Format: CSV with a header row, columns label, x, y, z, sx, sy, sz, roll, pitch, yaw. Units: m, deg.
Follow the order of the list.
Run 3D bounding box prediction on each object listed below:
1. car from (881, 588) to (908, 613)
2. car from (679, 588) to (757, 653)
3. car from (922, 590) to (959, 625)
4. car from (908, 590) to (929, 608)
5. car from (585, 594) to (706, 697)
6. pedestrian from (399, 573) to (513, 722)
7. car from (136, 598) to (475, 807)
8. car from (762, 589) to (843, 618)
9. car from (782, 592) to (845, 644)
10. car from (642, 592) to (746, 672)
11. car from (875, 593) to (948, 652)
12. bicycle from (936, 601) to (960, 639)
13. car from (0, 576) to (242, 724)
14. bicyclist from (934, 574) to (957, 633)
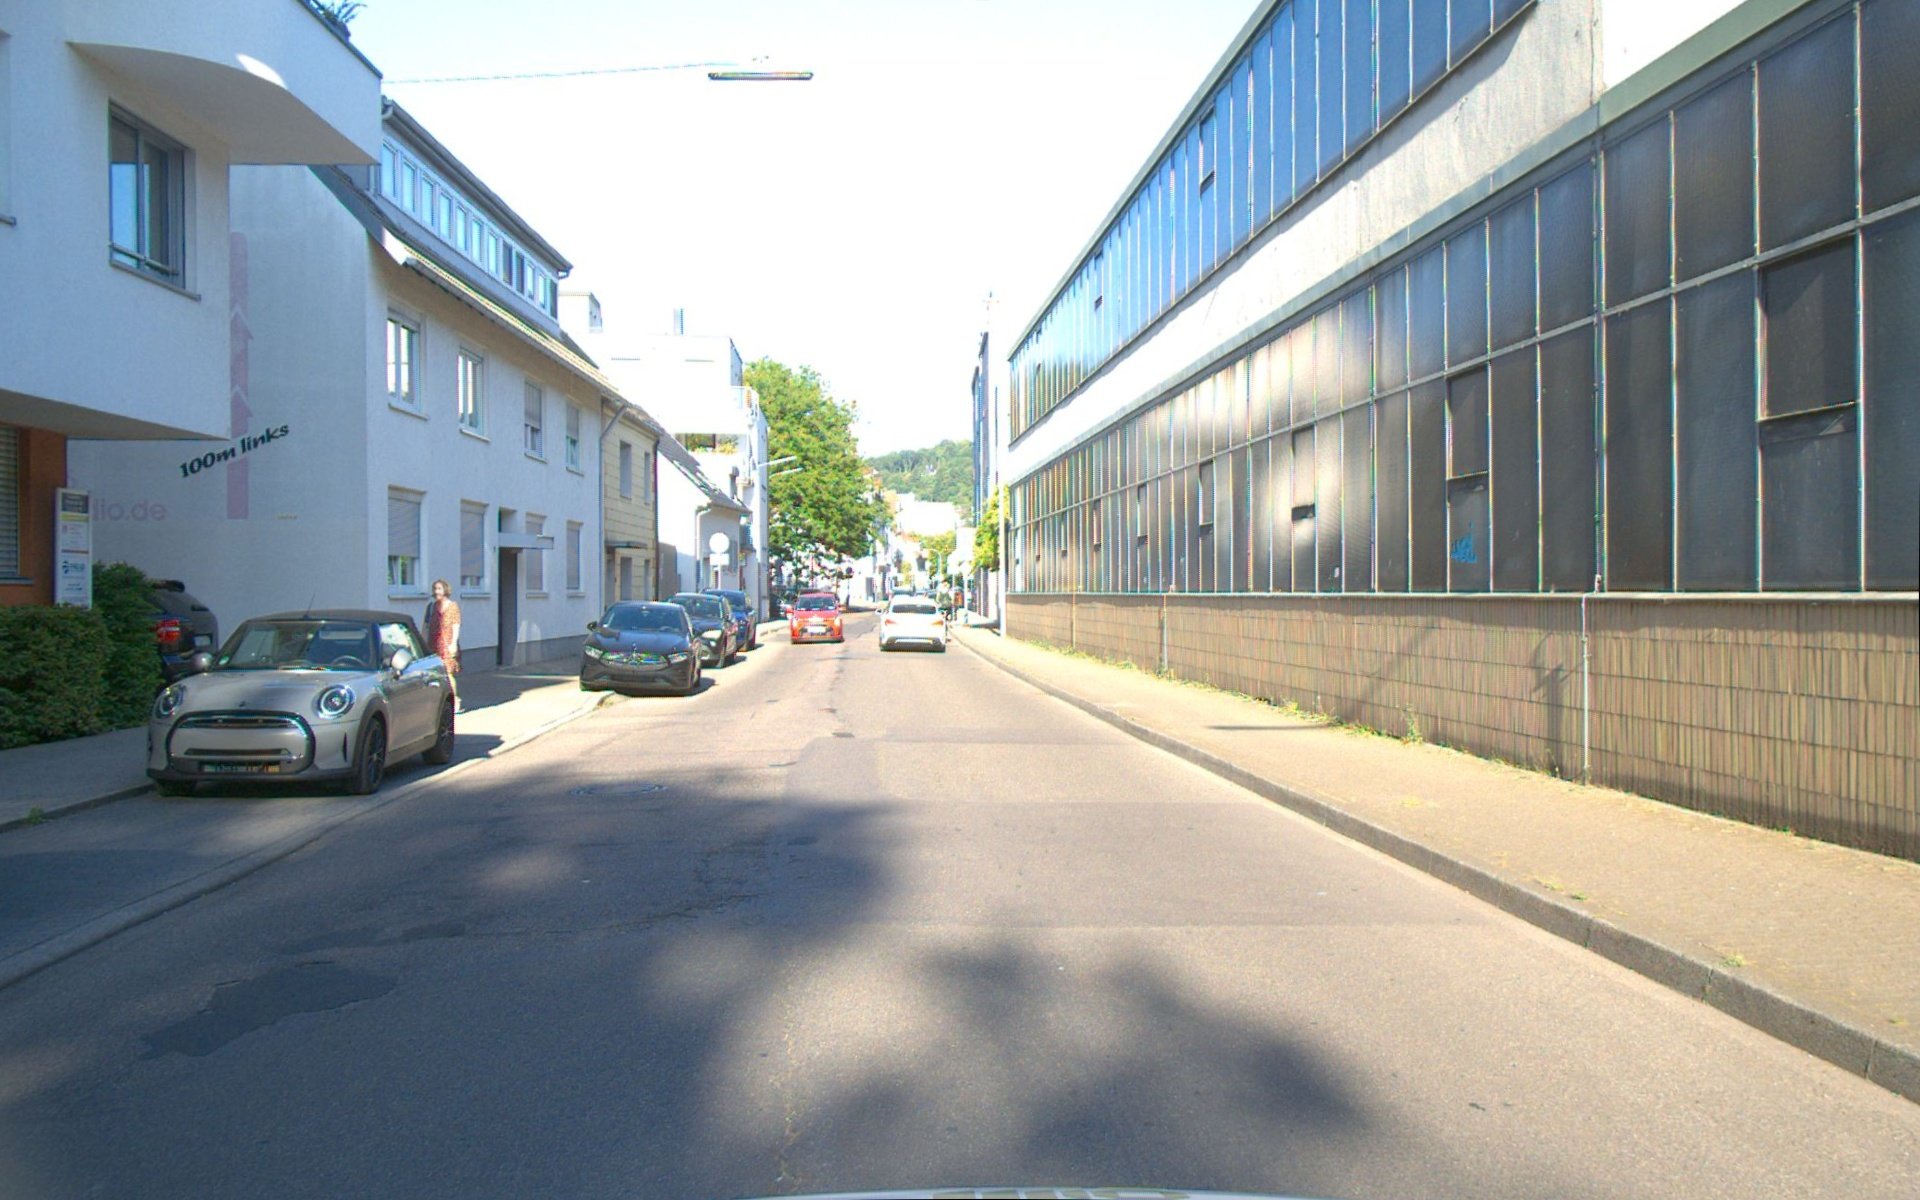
label,x,y,z,sx,sy,sz,roll,pitch,yaw
car,-4.936,0.025,124.242,1.817,1.822,4.602,-1,1,-5
car,-6.696,0.526,46.141,1.773,1.614,4.191,1,2,-4
car,-1.034,0.375,84.460,1.597,1.614,4.066,-4,0,-4
car,-3.652,-0.114,145.624,1.805,1.517,4.143,-1,0,-1
car,-5.138,0.694,27.451,1.652,1.562,4.328,1,0,-7
pedestrian,-6.526,0.595,21.462,0.843,1.850,1.132,2,1,20
car,-5.479,0.772,14.366,1.635,1.563,3.854,0,0,-4
car,-8.334,0.178,87.919,4.044,1.517,1.849,-1,0,3
car,-4.481,0.525,51.093,1.806,1.517,4.141,-1,0,-4
car,-5.943,0.673,37.407,1.820,1.614,4.334,1,1,-3
car,-1.371,0.588,45.132,1.806,1.517,4.141,-1,0,-4
bicycle,-0.397,0.611,52.139,0.684,1.150,2.402,-1,0,-2
car,-11.658,0.631,20.573,4.517,1.666,2.012,-3,1,-5
bicyclist,-0.459,0.101,52.122,0.684,1.821,1.040,-1,0,-2
